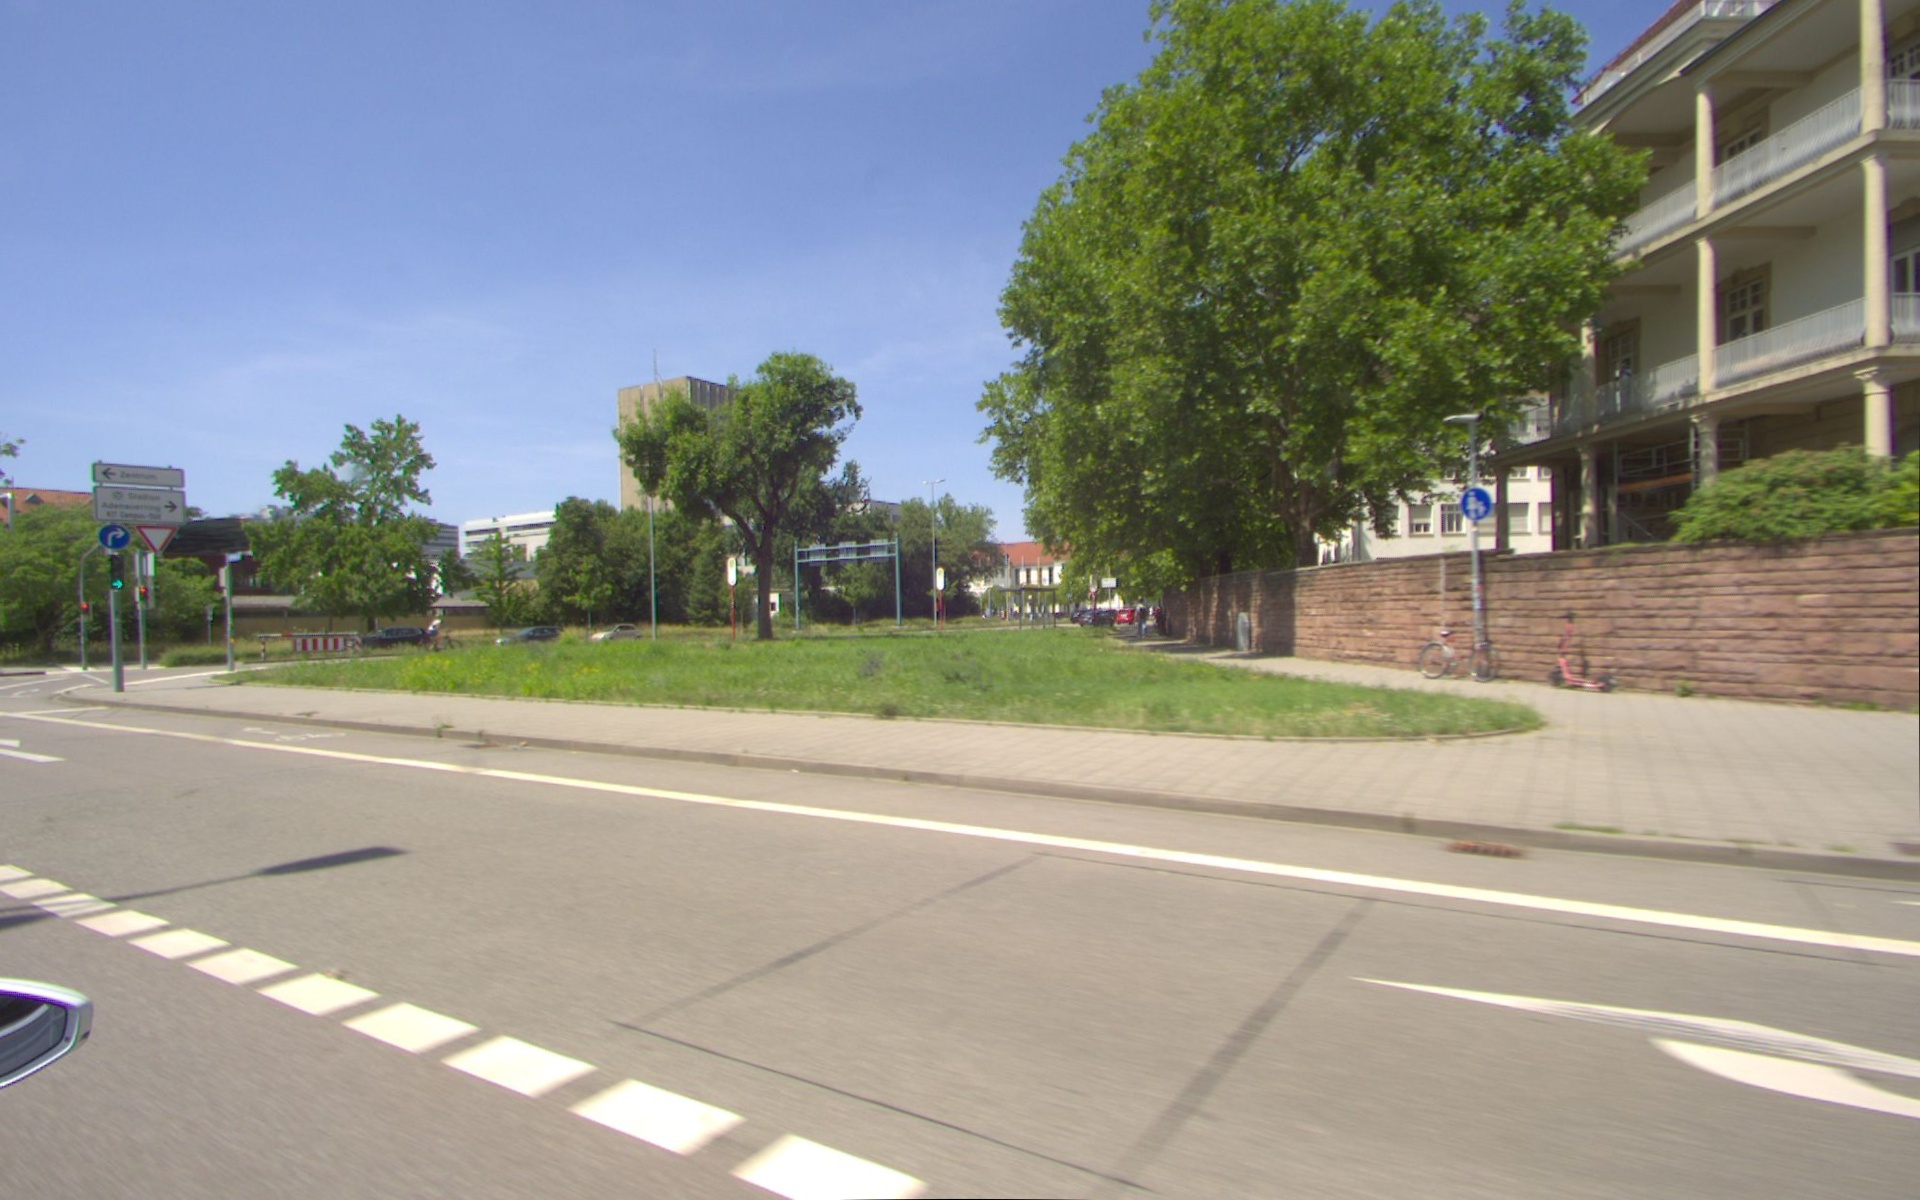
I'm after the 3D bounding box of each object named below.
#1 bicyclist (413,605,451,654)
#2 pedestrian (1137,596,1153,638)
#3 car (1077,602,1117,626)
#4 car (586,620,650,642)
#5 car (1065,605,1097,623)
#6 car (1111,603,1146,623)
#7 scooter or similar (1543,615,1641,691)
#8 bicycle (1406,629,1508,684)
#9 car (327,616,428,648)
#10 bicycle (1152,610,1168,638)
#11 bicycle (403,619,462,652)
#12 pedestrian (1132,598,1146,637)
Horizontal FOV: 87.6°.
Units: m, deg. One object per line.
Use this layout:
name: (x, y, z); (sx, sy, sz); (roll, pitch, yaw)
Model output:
bicyclist: (-20.958, 1.173, 39.759); (0.697, 1.910, 1.136); (-1, -2, 24)
pedestrian: (10.221, 0.946, 55.396); (0.833, 2.320, 1.075); (0, -2, 8)
car: (12.341, 1.269, 90.194); (1.973, 2.039, 4.192); (-1, -3, 33)
car: (-23.277, 2.153, 68.228); (1.735, 1.457, 3.981); (-1, -3, 32)
car: (12.175, 1.387, 100.680); (1.753, 1.689, 3.982); (-1, -3, 31)
car: (16.027, 1.261, 94.960); (1.758, 1.705, 3.976); (-1, -3, 35)
scooter or similar: (9.799, 0.818, 15.569); (0.368, 1.122, 1.346); (0, -2, -19)
bicycle: (8.901, 1.003, 18.008); (0.667, 0.940, 1.774); (0, -2, -12)
car: (-32.304, 1.768, 55.631); (1.688, 1.607, 4.522); (-2, 0, 38)
bicycle: (9.052, 1.102, 45.440); (0.449, 1.197, 2.171); (0, -2, 5)
bicycle: (-20.909, 1.412, 39.728); (0.512, 1.252, 2.186); (-1, -2, 24)
pedestrian: (8.109, 0.791, 45.329); (0.578, 1.743, 0.527); (0, -2, 8)
